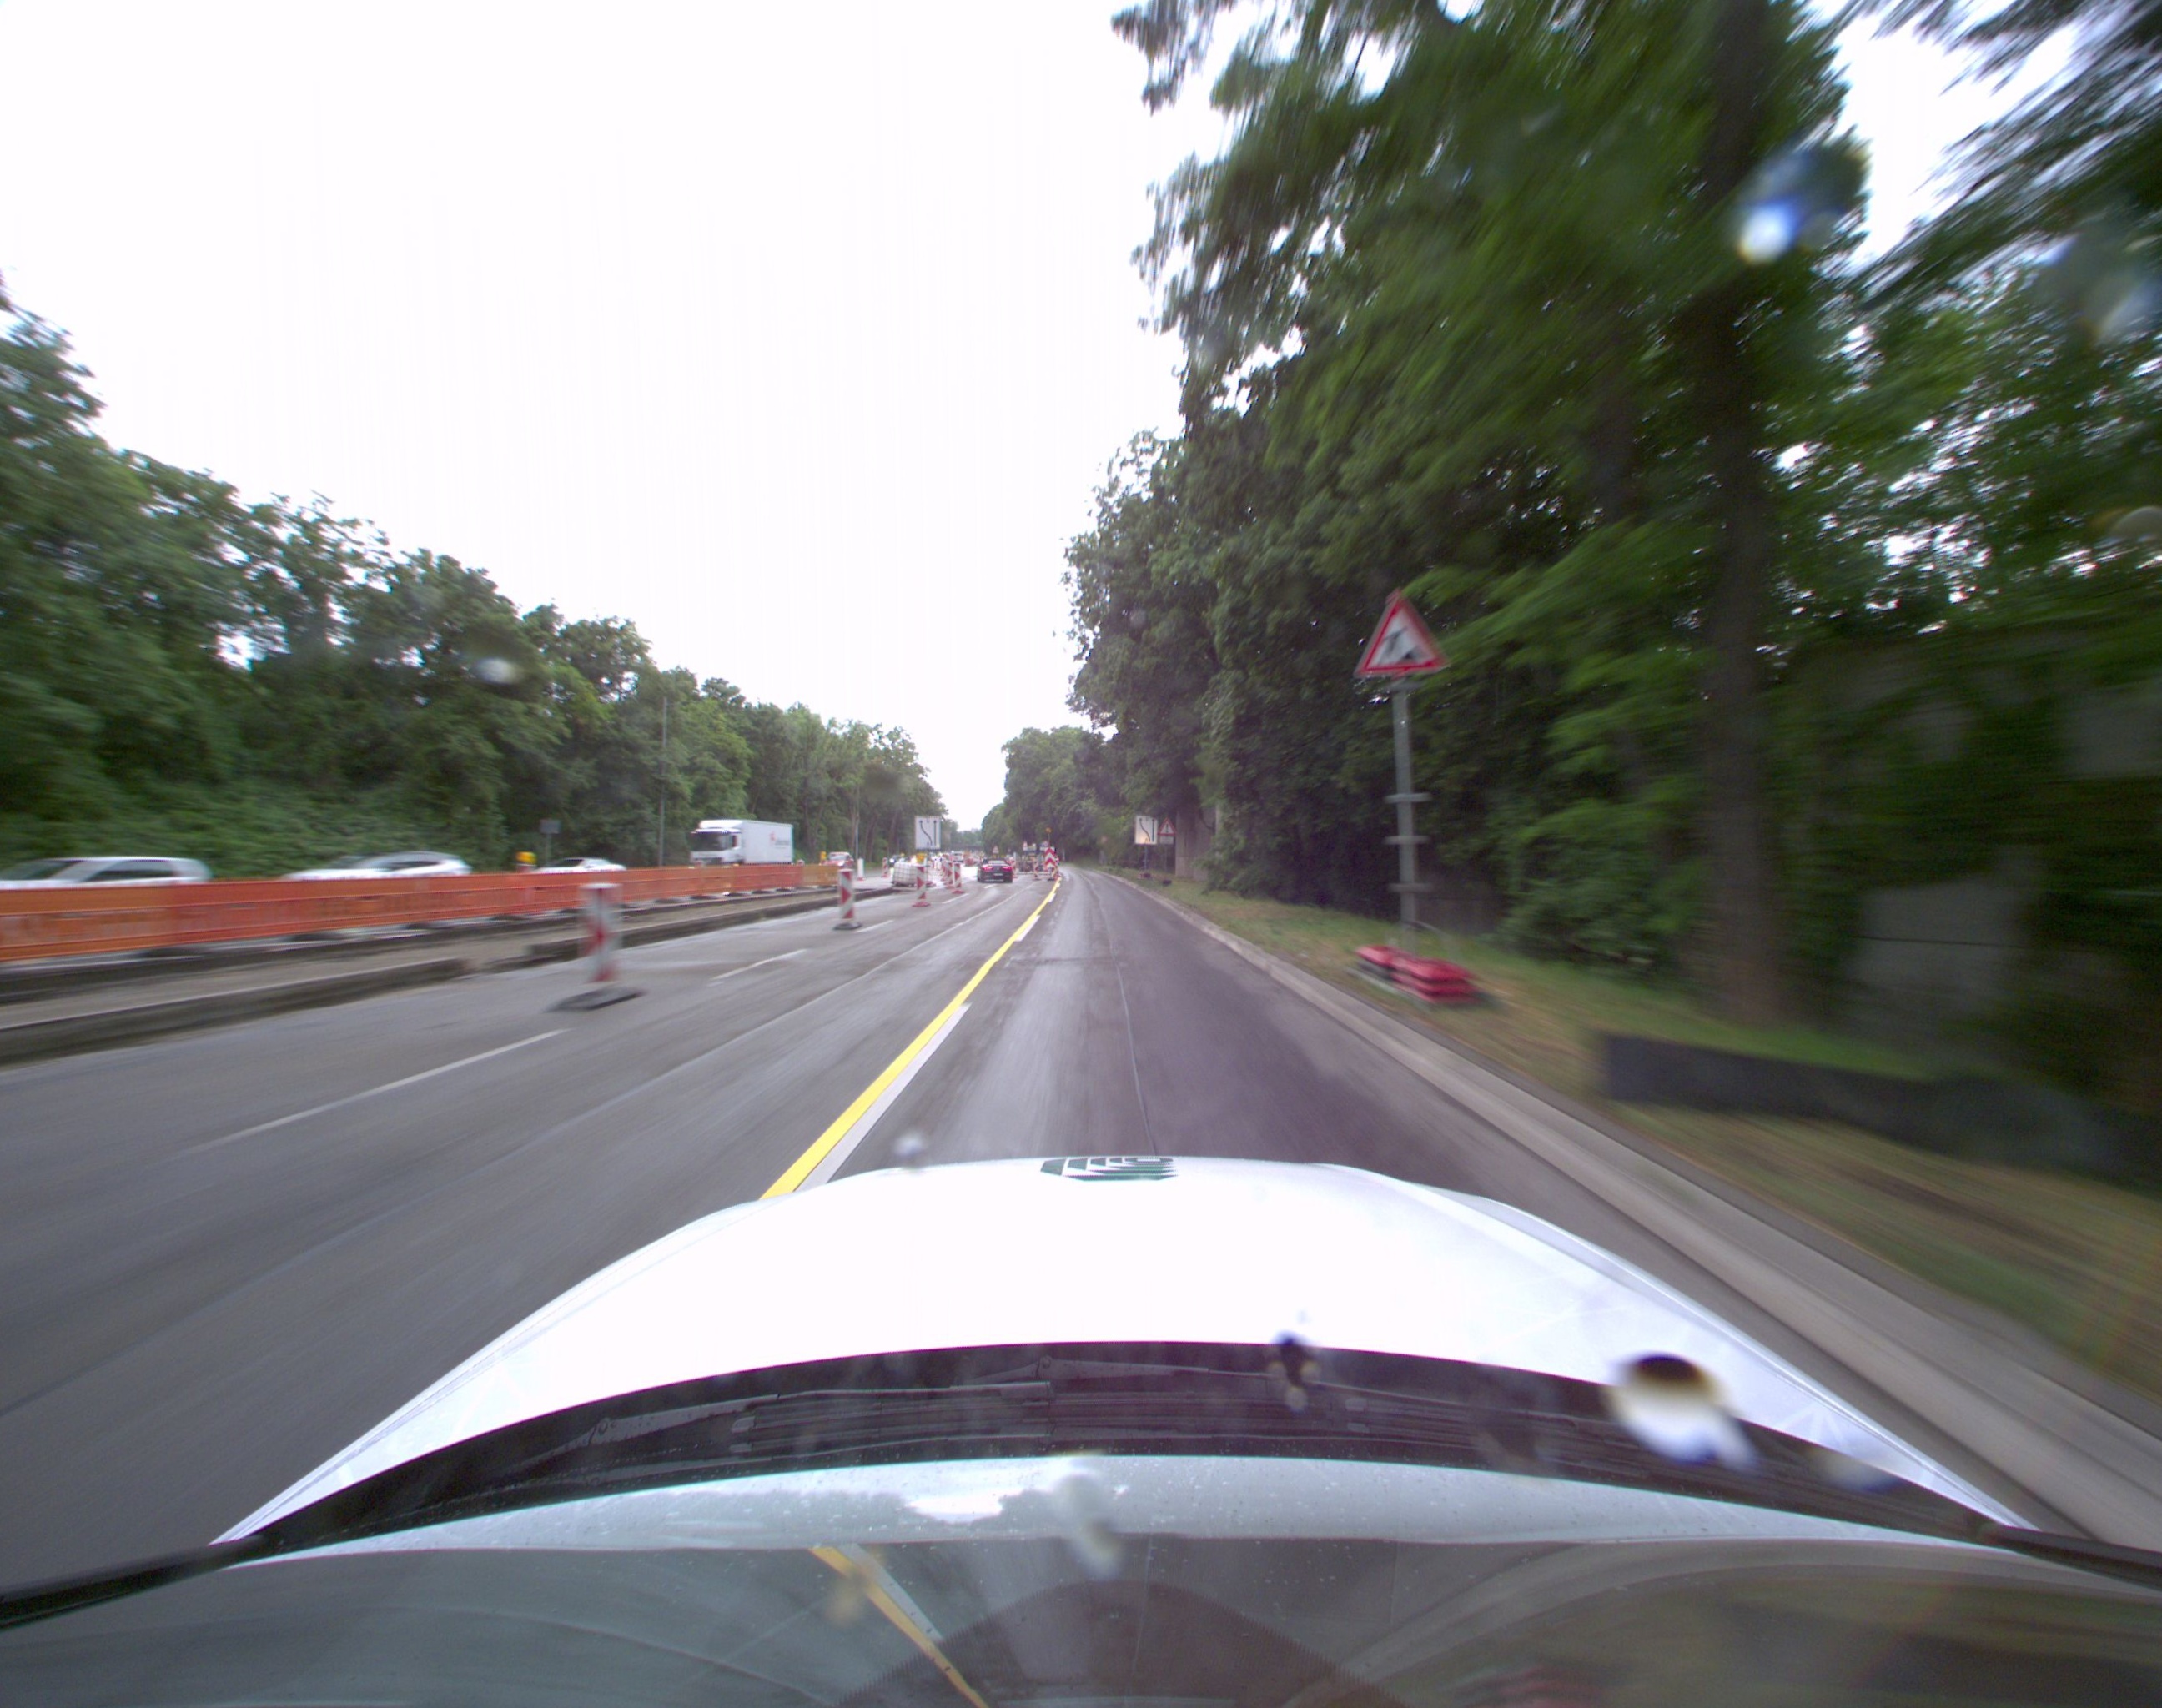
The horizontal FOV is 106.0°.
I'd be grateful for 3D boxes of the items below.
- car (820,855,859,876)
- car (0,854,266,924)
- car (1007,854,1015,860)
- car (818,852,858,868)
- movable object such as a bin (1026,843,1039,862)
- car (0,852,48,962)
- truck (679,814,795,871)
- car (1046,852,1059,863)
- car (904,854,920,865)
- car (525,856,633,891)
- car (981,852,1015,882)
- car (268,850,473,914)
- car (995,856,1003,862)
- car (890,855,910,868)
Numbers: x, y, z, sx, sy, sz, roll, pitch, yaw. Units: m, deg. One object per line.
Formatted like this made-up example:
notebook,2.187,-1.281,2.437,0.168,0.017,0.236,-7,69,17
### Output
car,-21.219,0.994,71.682,1.838,1.723,4.720,-3,0,1
car,-21.471,0.712,18.560,1.784,1.425,3.897,0,0,1
car,-17.886,0.731,206.762,1.756,1.344,3.989,2,1,-9
car,-18.123,0.425,61.011,1.599,1.152,4.283,0,0,1
movable object such as a bin,-7.247,-0.199,121.470,1.743,2.867,3.528,0,0,-5
car,-15.572,0.710,9.155,1.849,1.486,4.680,0,0,2
truck,-20.976,-0.613,50.575,2.786,3.148,10.147,0,0,0
car,-4.614,0.536,130.248,1.910,1.598,4.828,1,0,-3
car,-24.563,0.768,118.511,1.521,1.457,3.537,-1,0,-2
car,-21.121,0.788,34.513,1.803,1.379,4.369,0,0,1
car,-4.833,0.717,47.759,1.859,1.491,3.993,2,2,-6
car,-18.606,0.679,21.624,1.828,1.550,4.041,0,0,1
car,-24.076,1.353,238.934,1.871,1.618,3.995,3,0,-3
car,-23.217,0.937,104.547,1.631,1.647,4.197,-1,0,-1
